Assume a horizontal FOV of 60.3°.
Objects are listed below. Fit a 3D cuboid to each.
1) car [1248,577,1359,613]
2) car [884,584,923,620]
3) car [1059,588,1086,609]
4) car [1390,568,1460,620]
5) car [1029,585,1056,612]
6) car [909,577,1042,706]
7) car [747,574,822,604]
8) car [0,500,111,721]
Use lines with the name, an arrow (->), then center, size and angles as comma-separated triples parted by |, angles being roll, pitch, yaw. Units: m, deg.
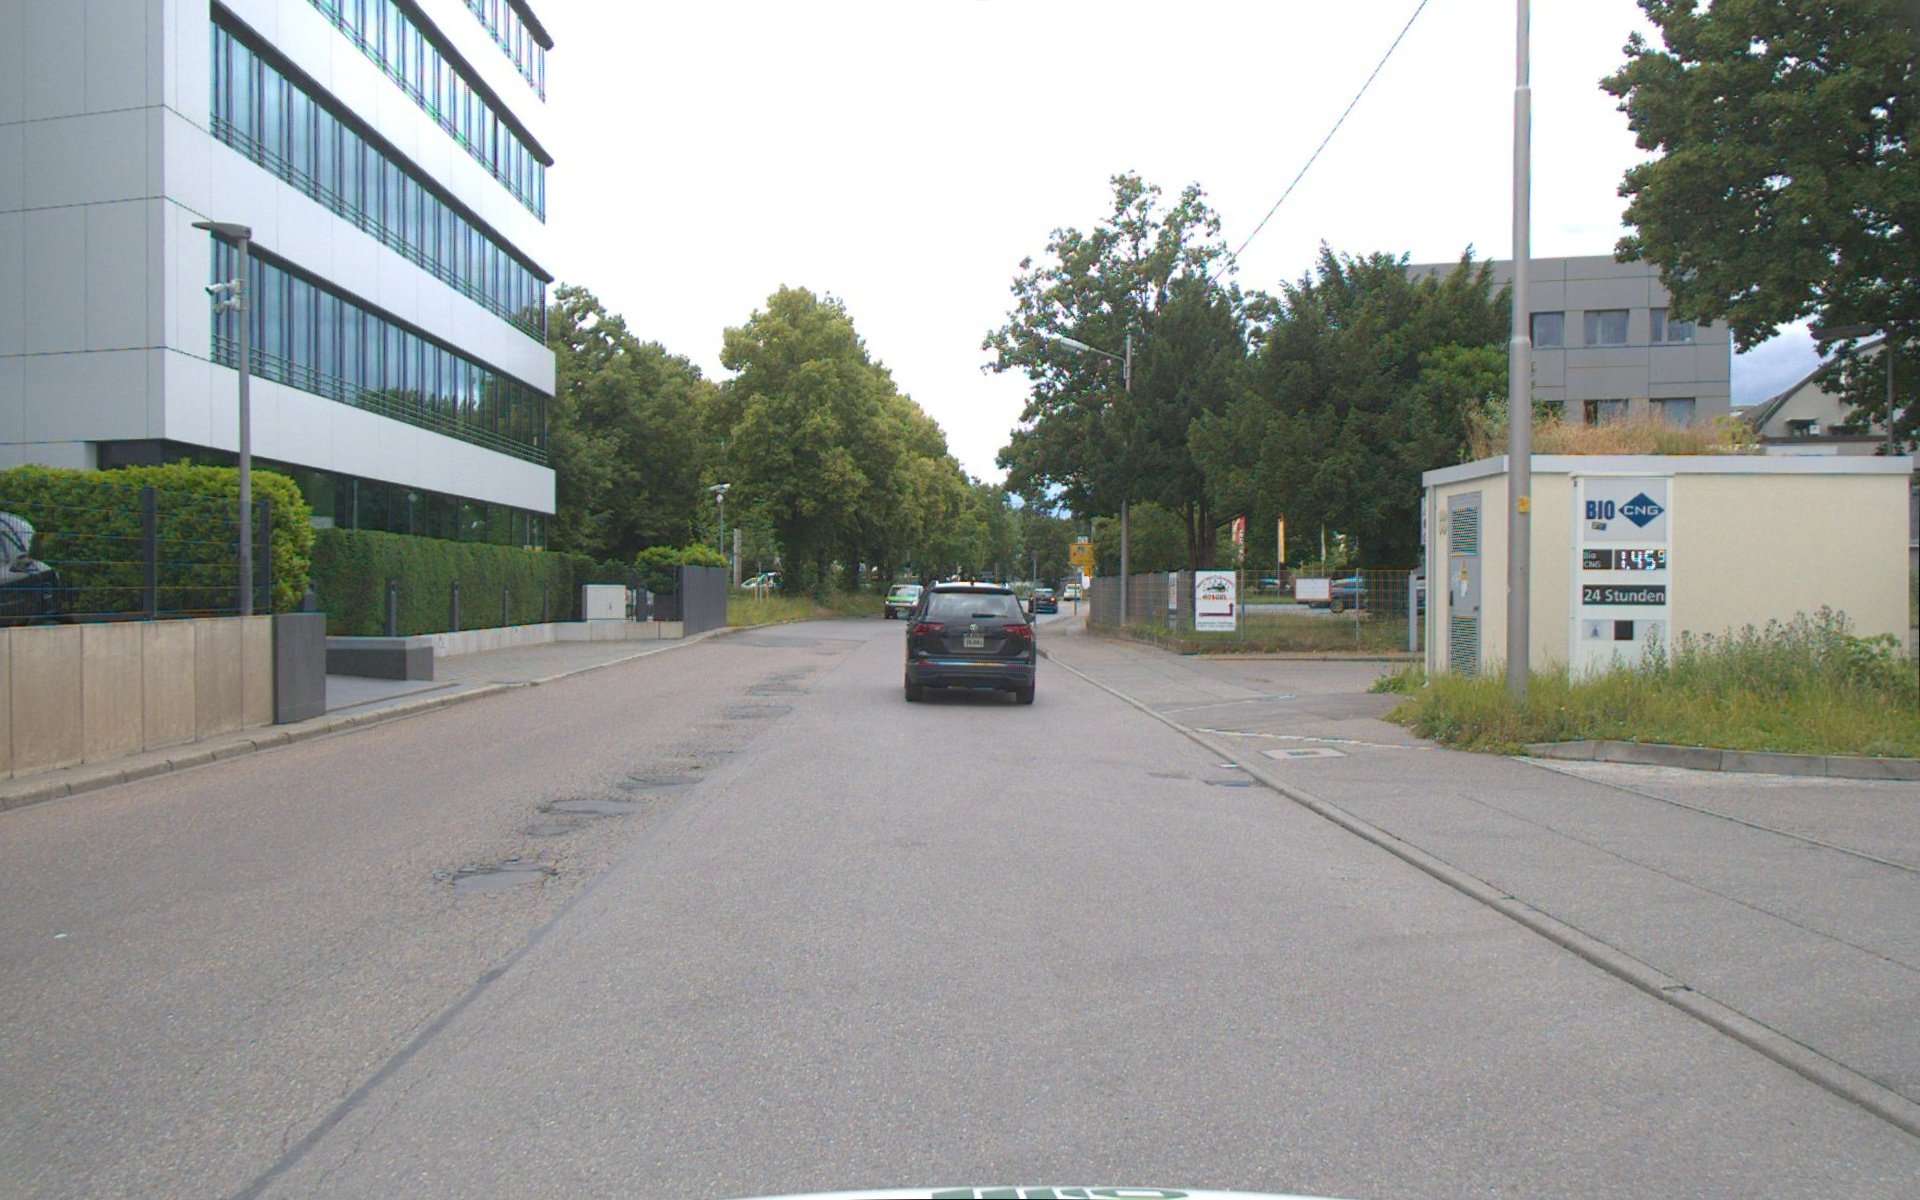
car -> 15.340, -0.218, 74.065 | 1.983, 1.500, 4.621 | -1, 0, -42
car -> -2.950, 0.085, 87.100 | 1.770, 1.795, 4.207 | 1, 0, 2
car -> 9.811, -0.151, 144.511 | 1.951, 1.817, 4.003 | 1, 0, 9
car -> 15.865, -0.243, 56.635 | 1.951, 1.594, 4.446 | -3, 1, 12
car -> 5.117, -0.111, 102.903 | 1.624, 1.602, 3.830 | -1, 0, 2
car -> 0.230, 0.556, 23.537 | 1.703, 1.646, 3.641 | 1, 0, 1
car -> -14.639, -0.945, 138.450 | 5.945, 2.429, 2.395 | 0, 1, 1
car -> -8.581, 0.063, 13.494 | 1.616, 1.792, 3.179 | 1, 0, 0
